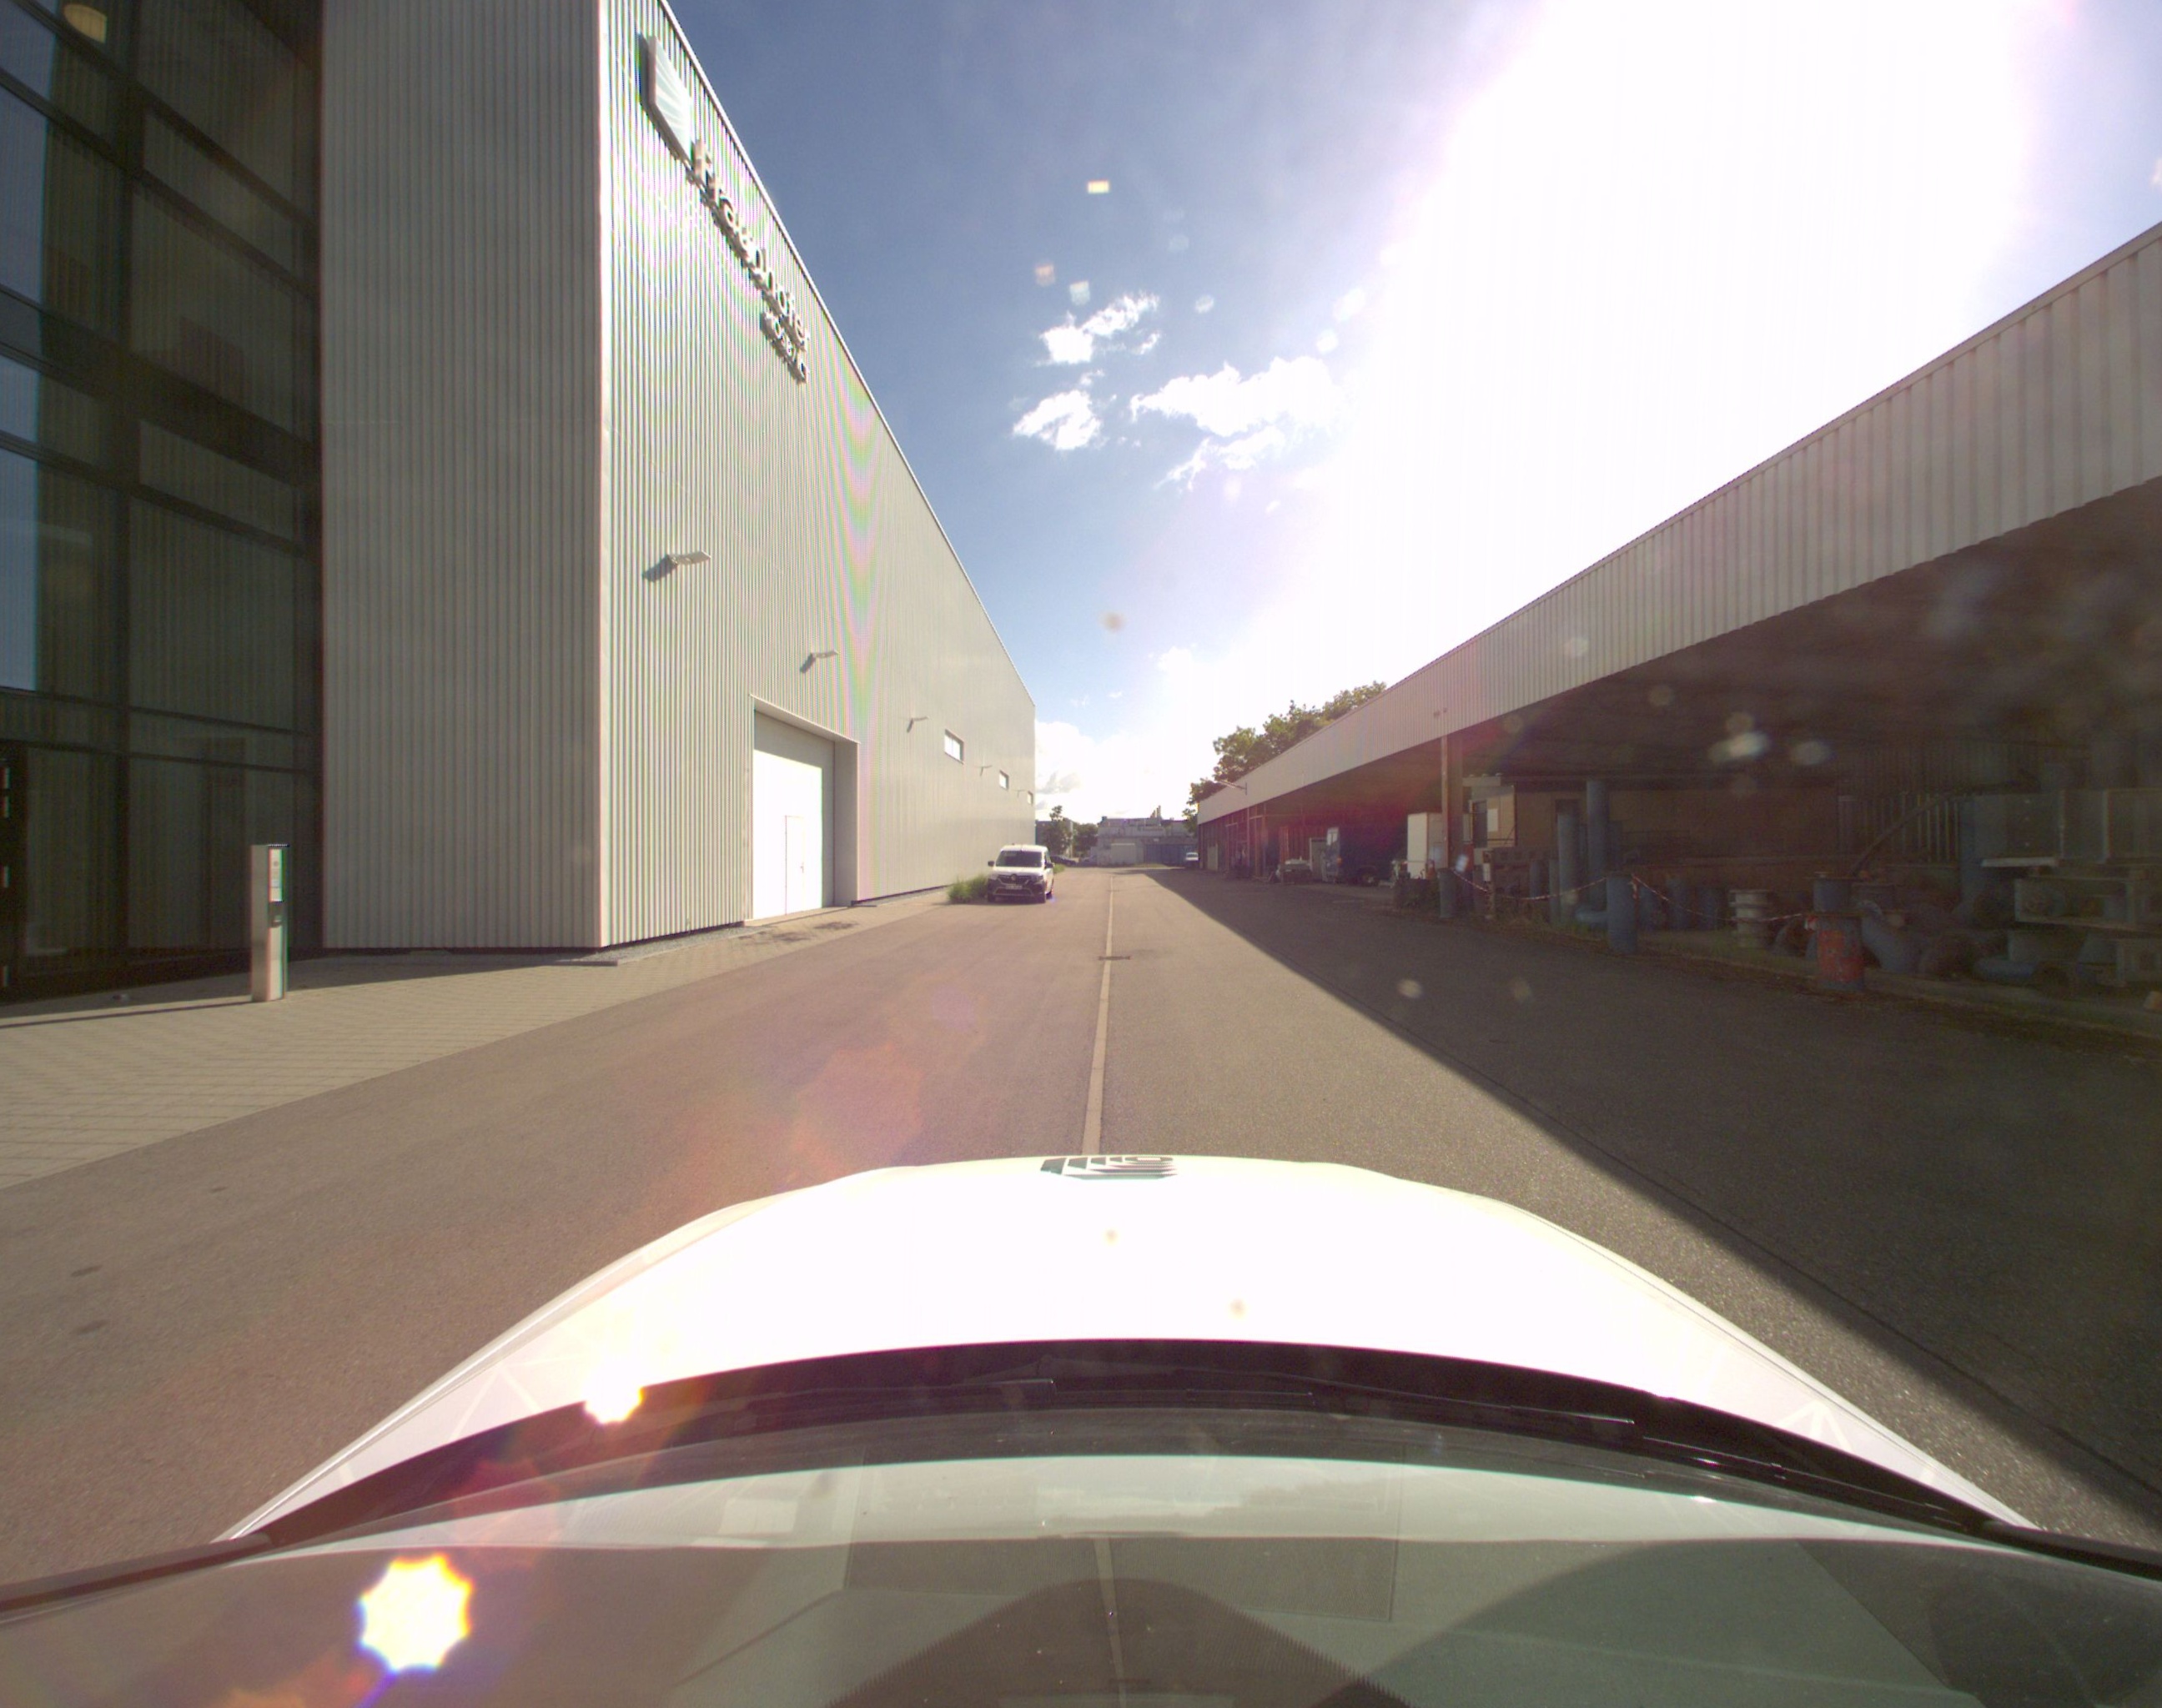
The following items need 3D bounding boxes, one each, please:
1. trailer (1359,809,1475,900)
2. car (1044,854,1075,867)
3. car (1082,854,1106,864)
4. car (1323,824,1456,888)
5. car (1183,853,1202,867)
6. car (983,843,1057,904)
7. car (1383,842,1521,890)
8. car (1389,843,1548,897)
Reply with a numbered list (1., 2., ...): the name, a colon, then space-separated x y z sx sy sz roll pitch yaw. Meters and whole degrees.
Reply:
1. trailer: 9.223 0.021 22.523 2.513 2.399 1.728 -1 -1 3
2. car: -2.808 0.903 108.630 3.973 1.598 1.741 1 -2 1
3. car: 2.135 0.822 136.393 3.973 1.598 1.848 1 -2 1
4. car: 11.749 0.112 31.243 4.414 2.310 1.917 1 -2 3
5. car: 13.117 0.656 95.735 1.953 1.564 4.064 1 0 4
6. car: -1.864 0.572 26.308 1.811 1.787 4.408 1 0 3
7. car: 12.730 0.431 28.112 4.021 1.525 1.685 1 -2 3
8. car: 11.671 0.490 24.716 4.021 1.525 1.685 1 -2 3
